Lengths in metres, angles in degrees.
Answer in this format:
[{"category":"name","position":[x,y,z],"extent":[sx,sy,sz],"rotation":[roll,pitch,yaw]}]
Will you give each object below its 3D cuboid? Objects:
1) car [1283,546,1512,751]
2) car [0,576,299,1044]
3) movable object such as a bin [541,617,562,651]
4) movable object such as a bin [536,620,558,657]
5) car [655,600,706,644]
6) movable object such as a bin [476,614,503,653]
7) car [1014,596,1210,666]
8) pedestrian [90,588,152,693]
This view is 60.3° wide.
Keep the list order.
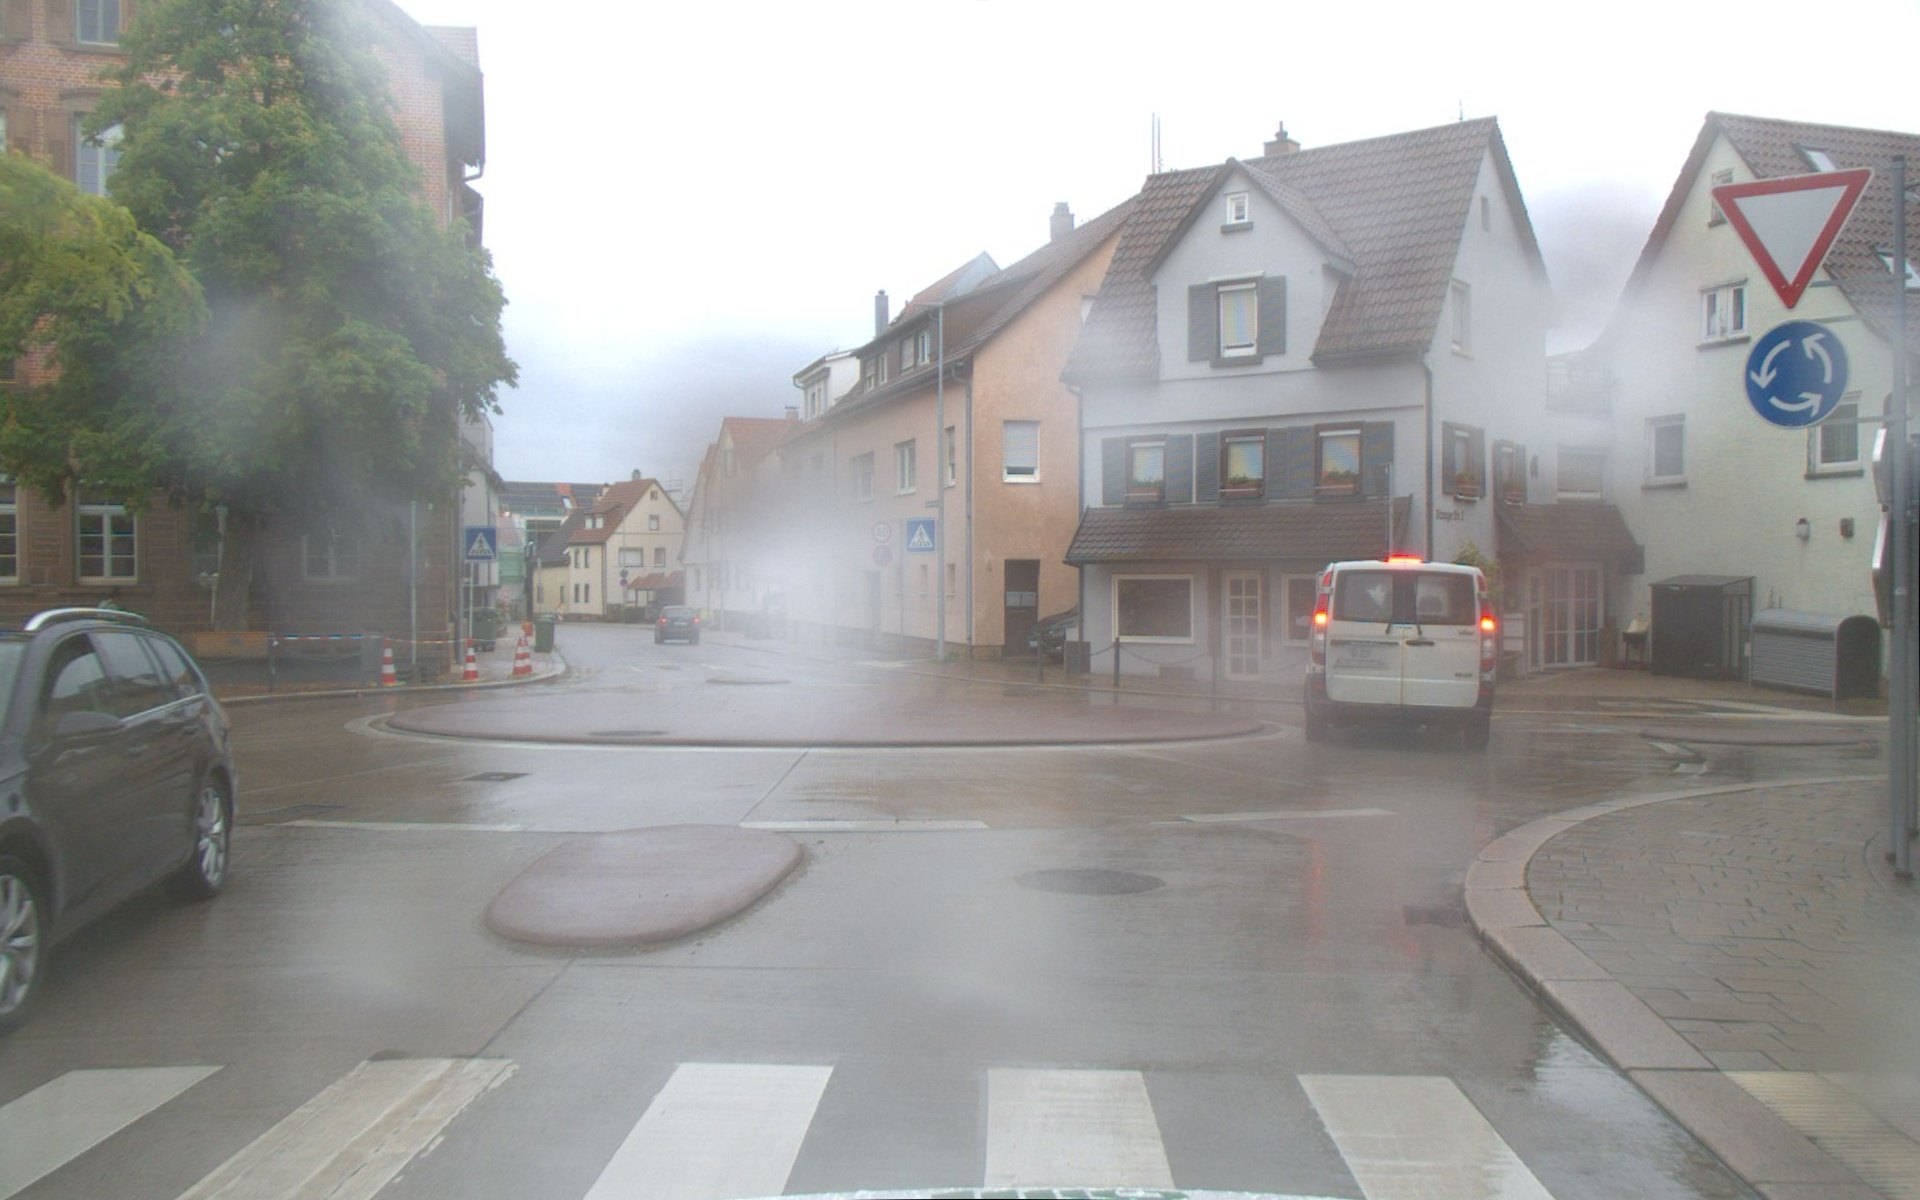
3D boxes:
[{"category":"car","position":[4.762,0.514,18.261],"extent":[2.107,1.932,4.929],"rotation":[0,-1,14]},{"category":"car","position":[-4.279,0.680,7.034],"extent":[1.753,1.534,4.460],"rotation":[0,0,-9]},{"category":"movable object such as a bin","position":[-14.484,1.187,58.606],"extent":[0.644,1.189,0.777],"rotation":[1,-1,-19]},{"category":"movable object such as a bin","position":[-13.539,1.252,54.182],"extent":[0.617,1.193,0.757],"rotation":[1,-1,-19]},{"category":"car","position":[-11.249,0.884,66.401],"extent":[1.937,1.709,4.057],"rotation":[0,-1,-11]},{"category":"movable object such as a bin","position":[-14.878,1.056,52.296],"extent":[0.737,1.189,0.628],"rotation":[1,-1,-20]},{"category":"car","position":[3.388,0.695,36.969],"extent":[3.930,1.512,1.987],"rotation":[0,-1,-21]},{"category":"pedestrian","position":[-15.650,0.761,30.868],"extent":[0.826,1.919,0.821],"rotation":[1,-1,-16]}]
